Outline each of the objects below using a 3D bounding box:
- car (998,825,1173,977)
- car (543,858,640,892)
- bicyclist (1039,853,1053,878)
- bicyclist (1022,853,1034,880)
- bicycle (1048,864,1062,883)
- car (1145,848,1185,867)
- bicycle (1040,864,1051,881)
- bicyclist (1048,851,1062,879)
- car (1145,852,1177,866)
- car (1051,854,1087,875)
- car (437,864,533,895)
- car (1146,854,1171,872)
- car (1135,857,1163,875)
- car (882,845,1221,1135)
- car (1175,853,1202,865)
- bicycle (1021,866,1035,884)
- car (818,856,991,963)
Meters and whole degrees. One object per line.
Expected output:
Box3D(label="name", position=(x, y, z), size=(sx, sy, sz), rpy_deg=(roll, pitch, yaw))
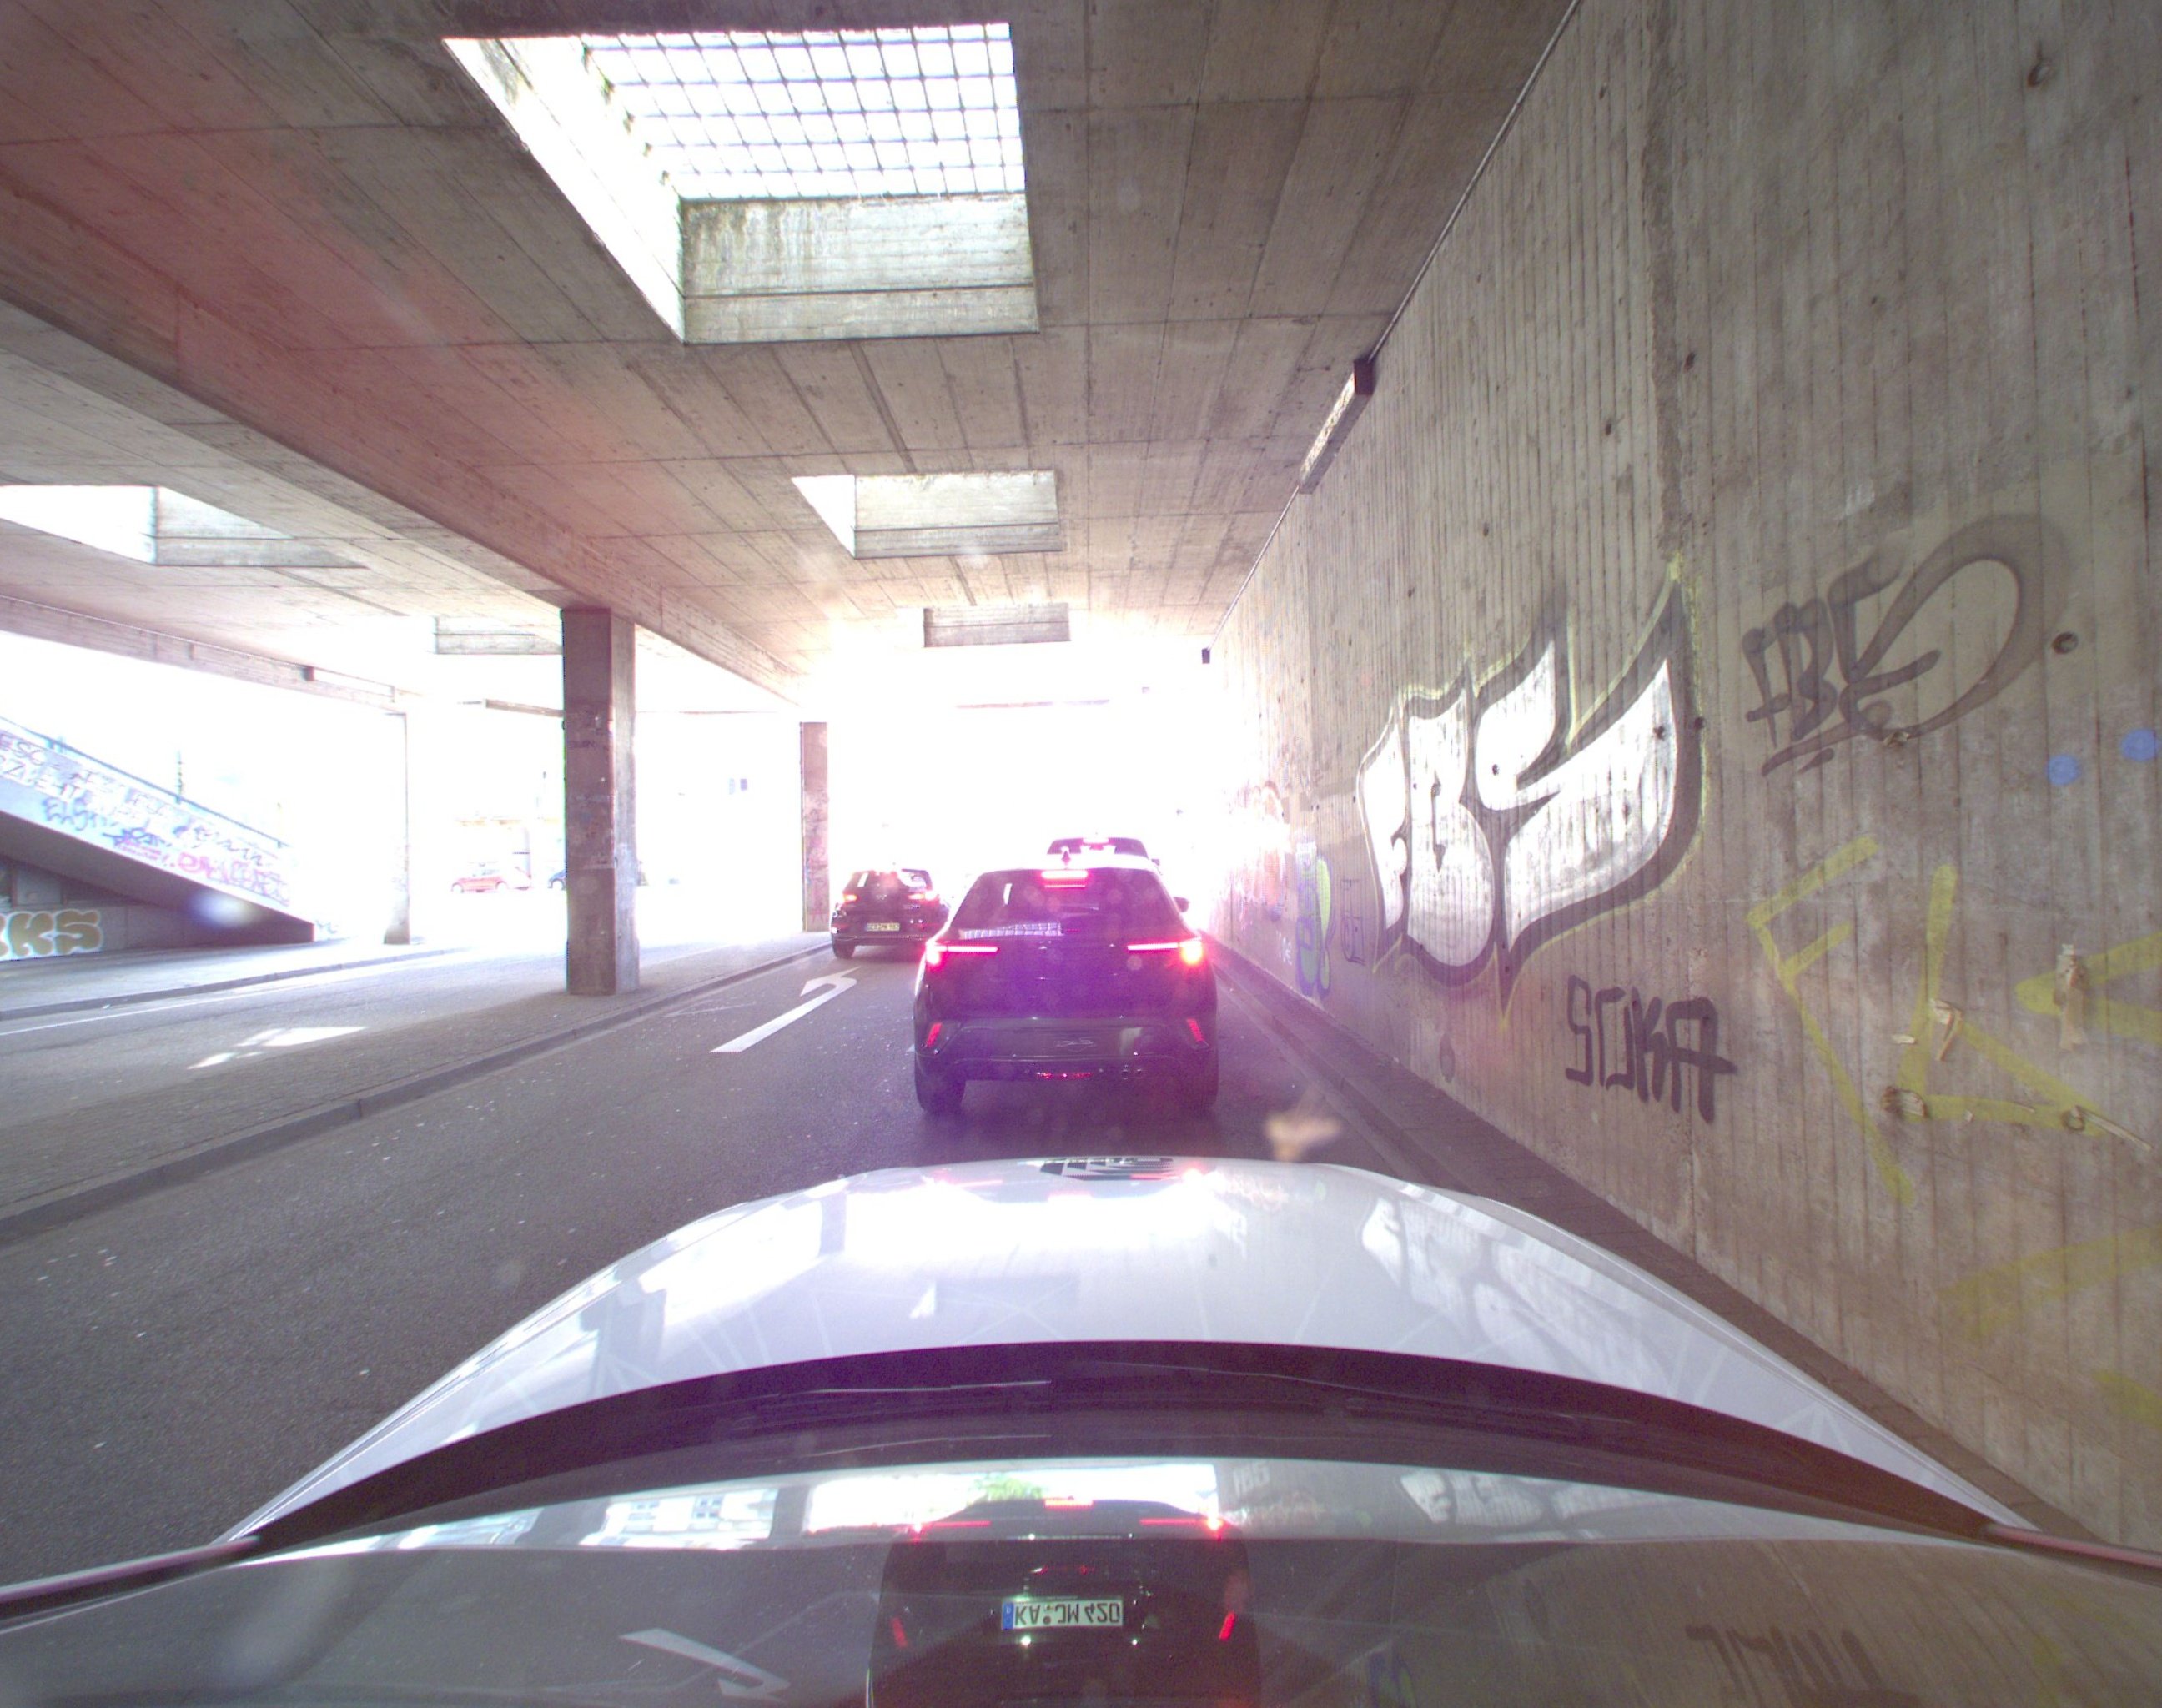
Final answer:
Box3D(label="car", position=(0.121, 0.583, 12.570), size=(2.125, 1.835, 4.942), rpy_deg=(-1, 0, 1))
Box3D(label="car", position=(-27.207, 1.130, 45.321), size=(4.144, 1.724, 1.964), rpy_deg=(-1, 1, 2))
Box3D(label="bicyclist", position=(-2.363, 0.779, 54.879), size=(0.779, 1.660, 1.032), rpy_deg=(-1, 0, 3))
Box3D(label="bicyclist", position=(-3.370, 0.785, 51.793), size=(0.602, 1.632, 0.911), rpy_deg=(-1, 0, 7))
Box3D(label="bicycle", position=(-1.656, 1.230, 52.095), size=(0.695, 1.090, 1.863), rpy_deg=(-1, 2, 5))
Box3D(label="car", position=(12.007, 0.521, 115.925), size=(5.267, 2.545, 1.976), rpy_deg=(-2, -1, -14))
Box3D(label="bicycle", position=(-2.372, 1.230, 54.819), size=(0.539, 1.123, 2.060), rpy_deg=(-1, 0, 3))
Box3D(label="bicyclist", position=(-1.677, 0.709, 52.239), size=(0.742, 1.711, 0.968), rpy_deg=(-1, 1, 4))
Box3D(label="car", position=(13.222, 0.851, 134.128), size=(4.905, 2.083, 1.970), rpy_deg=(-2, -1, -23))
Box3D(label="car", position=(-0.828, 0.751, 59.704), size=(1.645, 1.441, 3.478), rpy_deg=(-1, 0, 16))
Box3D(label="car", position=(-33.066, 1.383, 45.247), size=(3.863, 1.540, 1.900), rpy_deg=(-1, 1, 2))
Box3D(label="car", position=(7.139, 0.776, 75.145), size=(1.693, 1.512, 3.877), rpy_deg=(-3, -1, 13))
Box3D(label="car", position=(5.733, 0.998, 68.716), size=(1.695, 1.452, 3.865), rpy_deg=(-1, 0, 14))
Box3D(label="car", position=(-0.099, 0.719, 6.179), size=(1.775, 1.517, 3.757), rpy_deg=(-1, 0, 2))
Box3D(label="car", position=(21.236, 0.960, 160.905), size=(4.888, 2.083, 1.977), rpy_deg=(-2, -1, -12))
Box3D(label="bicycle", position=(-3.362, 1.301, 51.725), size=(0.523, 1.090, 1.864), rpy_deg=(-1, 0, 7))
Box3D(label="car", position=(-2.744, 0.799, 13.740), size=(1.794, 1.451, 4.328), rpy_deg=(-2, 0, 2))
